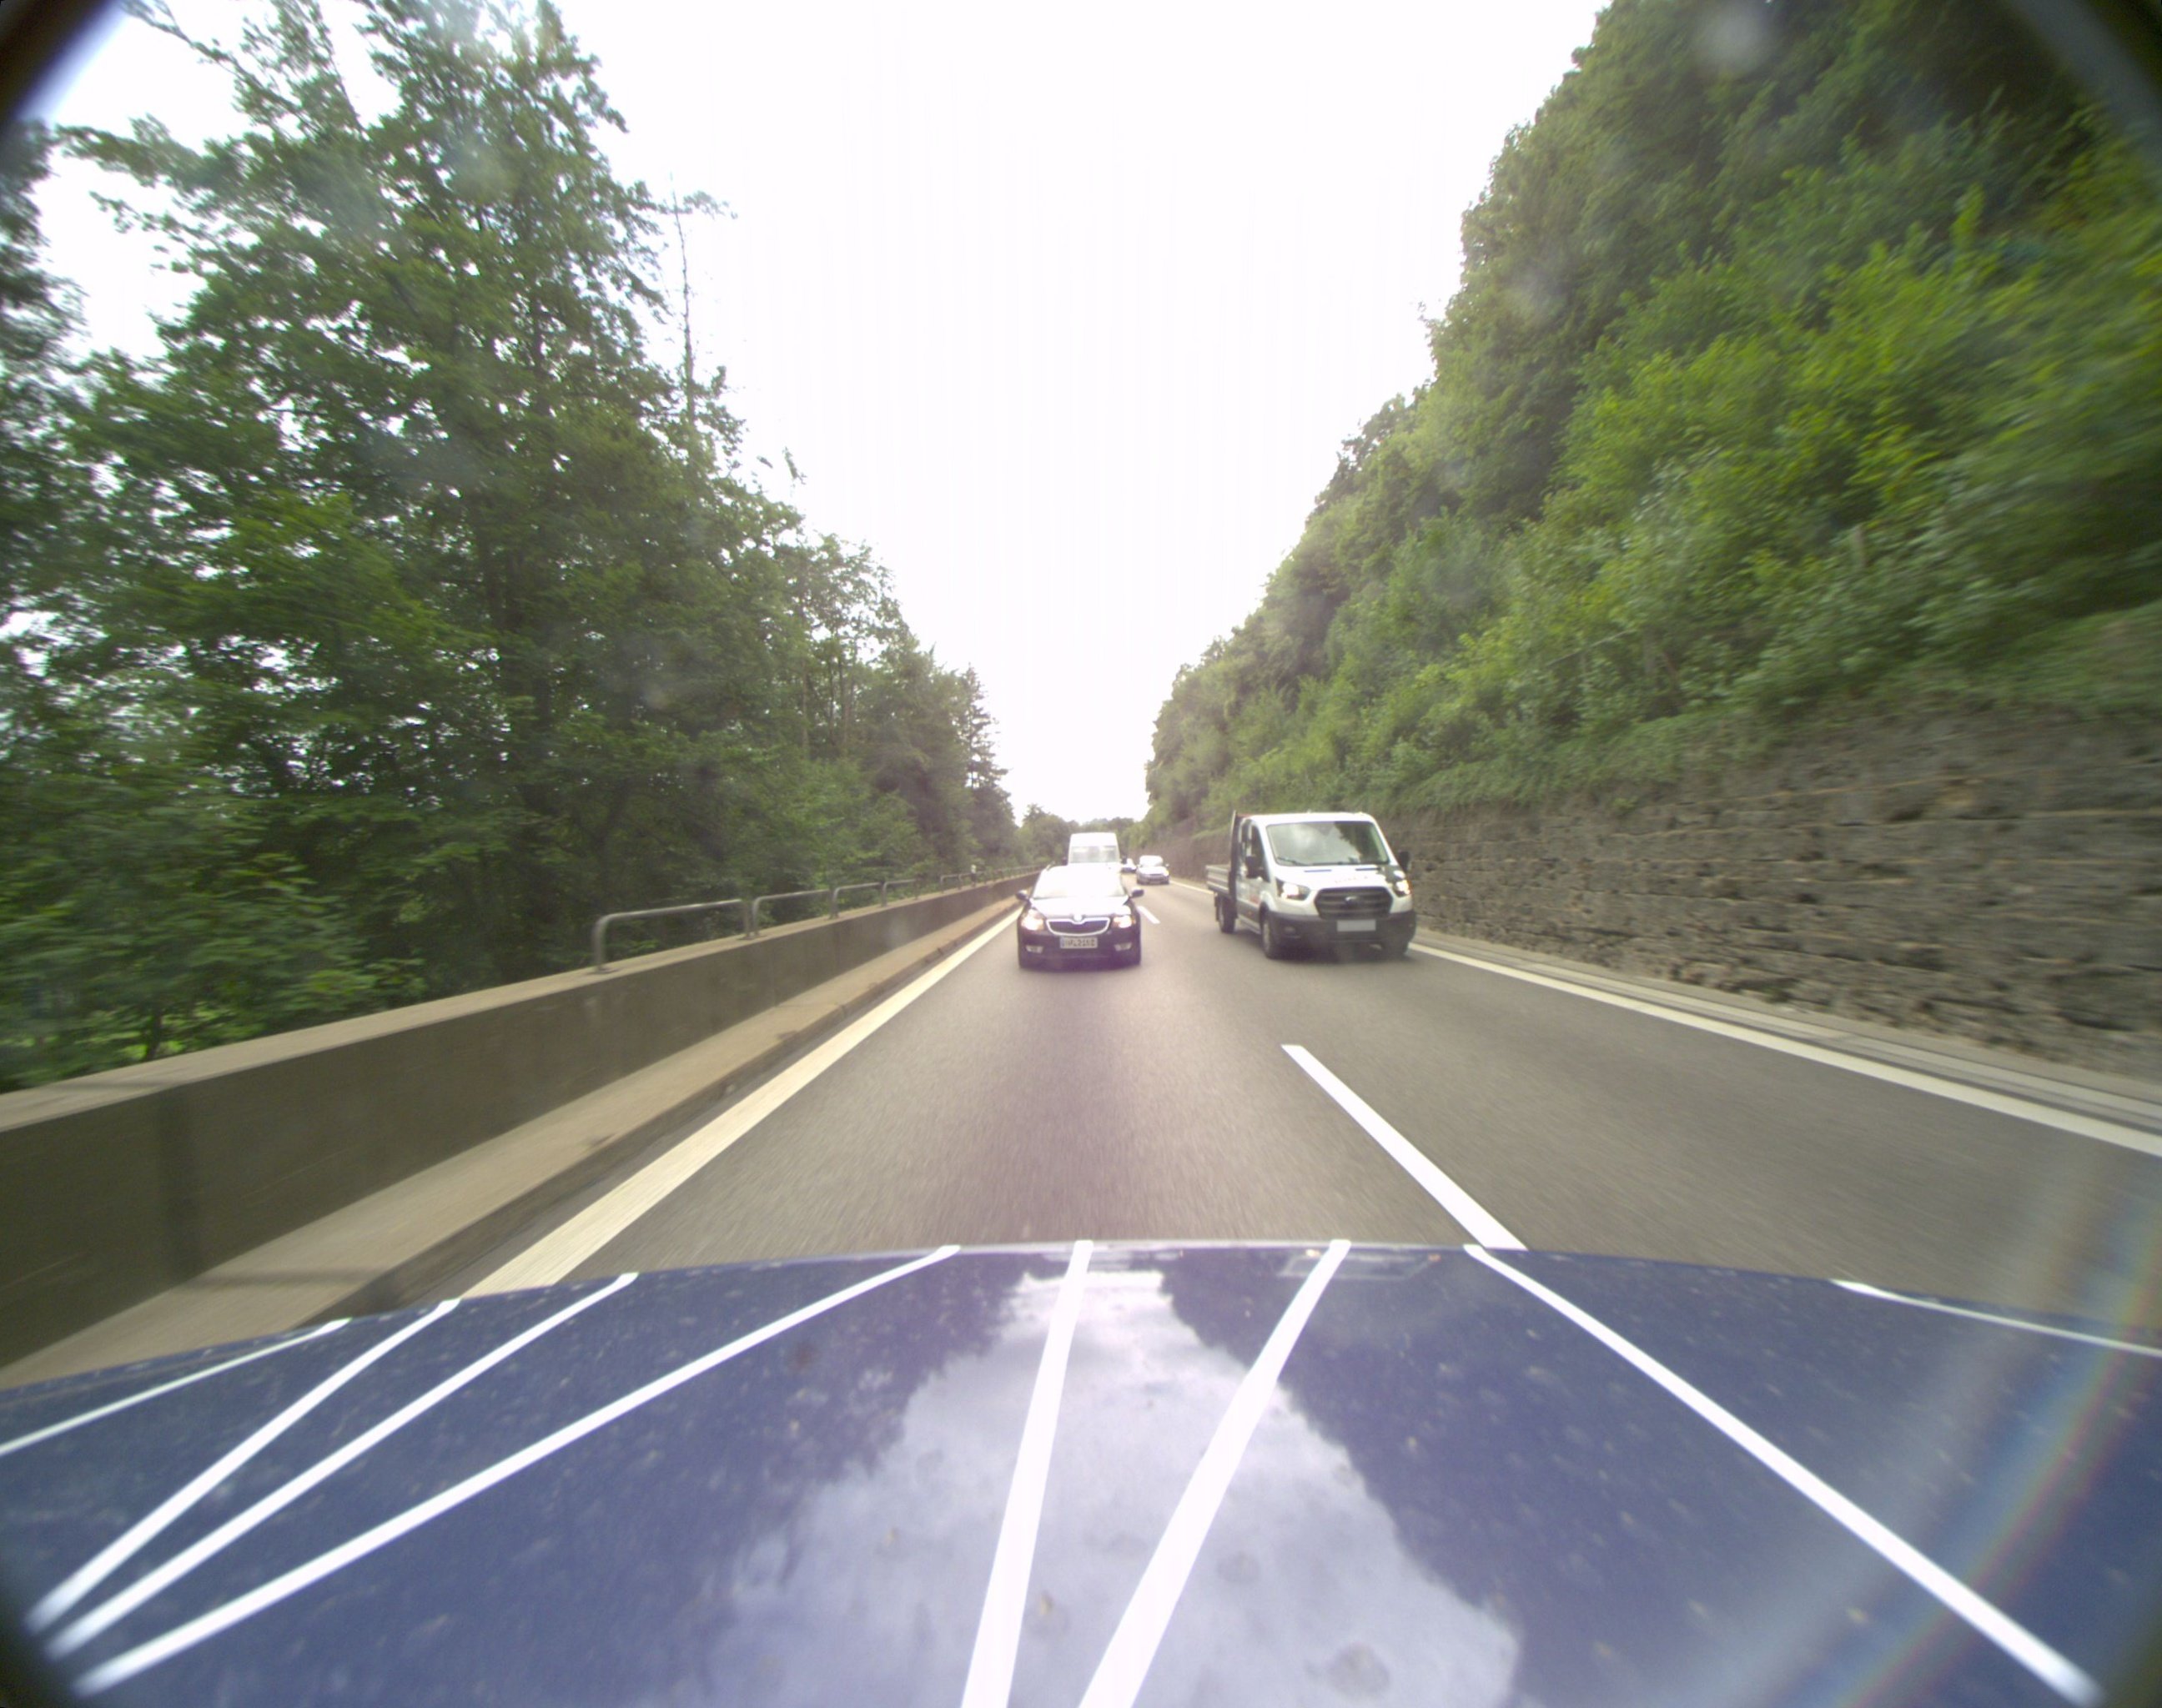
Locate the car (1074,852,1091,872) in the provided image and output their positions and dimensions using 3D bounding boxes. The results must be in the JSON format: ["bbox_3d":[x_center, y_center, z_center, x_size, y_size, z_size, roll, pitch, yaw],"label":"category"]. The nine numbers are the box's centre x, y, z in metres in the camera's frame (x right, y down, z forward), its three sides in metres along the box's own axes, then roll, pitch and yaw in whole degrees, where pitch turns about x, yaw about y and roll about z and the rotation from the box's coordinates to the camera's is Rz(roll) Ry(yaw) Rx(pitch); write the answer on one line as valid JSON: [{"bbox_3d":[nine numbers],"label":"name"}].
[{"bbox_3d":[0.240,0.979,93.307,1.998,2.396,4.000,-2,0,1],"label":"car"}]

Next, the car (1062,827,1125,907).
[{"bbox_3d":[0.563,0.413,27.505,1.998,2.550,5.919,-1,1,3],"label":"car"}]

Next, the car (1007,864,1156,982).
[{"bbox_3d":[-0.041,0.955,12.921,1.913,1.391,5.696,-3,0,-1],"label":"car"}]

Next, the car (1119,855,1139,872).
[{"bbox_3d":[4.745,0.959,75.721,1.711,1.568,4.602,-2,0,1],"label":"car"}]

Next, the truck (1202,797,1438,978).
[{"bbox_3d":[3.637,0.447,13.182,1.998,2.266,6.586,-2,0,1],"label":"truck"}]

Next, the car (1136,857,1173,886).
[{"bbox_3d":[4.216,0.977,44.315,1.711,1.568,4.602,-2,0,1],"label":"car"}]
